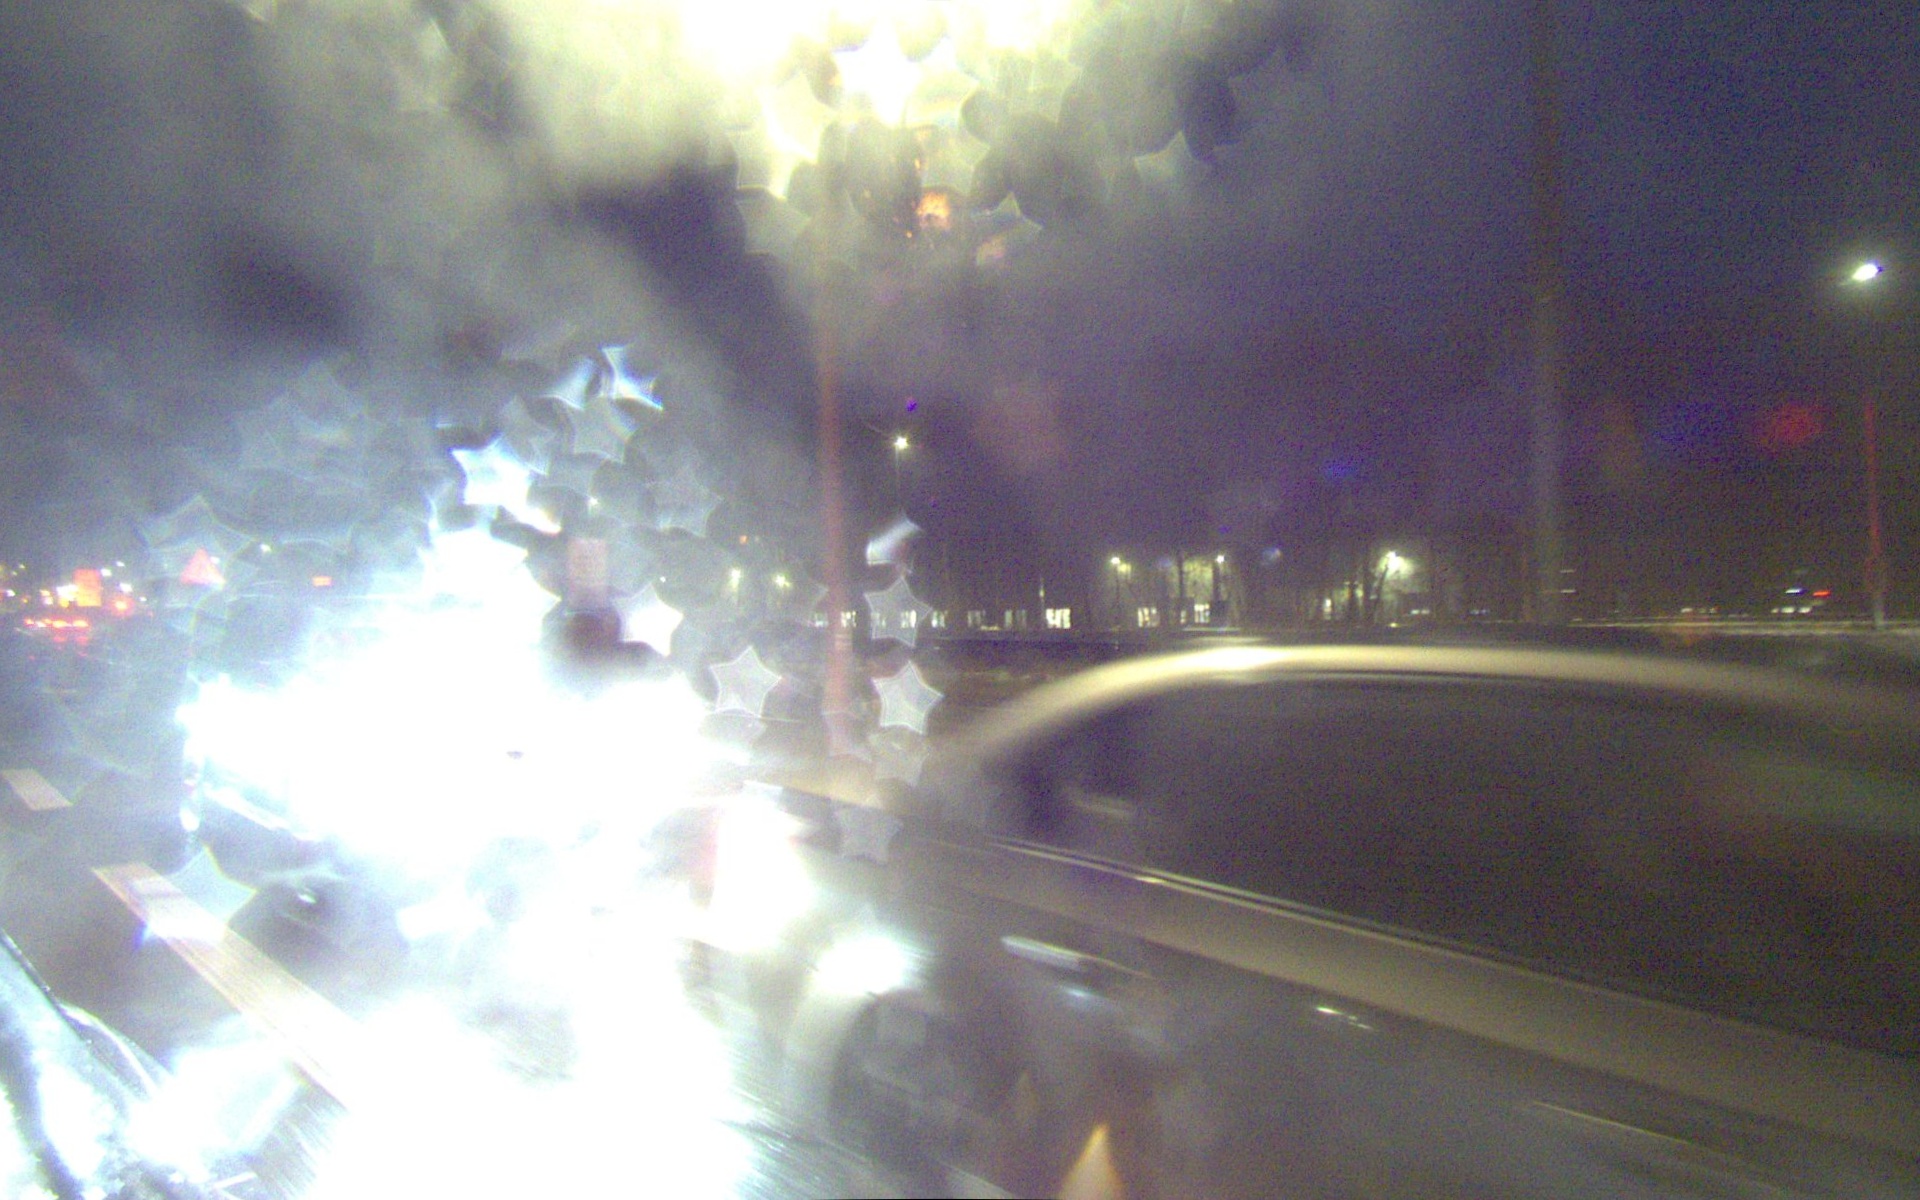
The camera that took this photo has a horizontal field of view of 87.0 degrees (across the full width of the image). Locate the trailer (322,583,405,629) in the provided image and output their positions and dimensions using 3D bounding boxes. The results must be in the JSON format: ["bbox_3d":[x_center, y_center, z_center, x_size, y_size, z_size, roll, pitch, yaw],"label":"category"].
[{"bbox_3d":[-67.298,0.611,113.951,15.522,4.643,3.927,0,4,44],"label":"trailer"}]

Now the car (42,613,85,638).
[{"bbox_3d":[-64.621,1.823,72.937,4.650,1.654,1.743,-1,1,41],"label":"car"}]

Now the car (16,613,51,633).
[{"bbox_3d":[-78.862,1.946,86.147,4.030,1.600,1.783,0,1,42],"label":"car"}]

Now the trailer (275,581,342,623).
[{"bbox_3d":[-85.548,0.230,132.651,14.842,5.049,3.927,0,4,44],"label":"trailer"}]

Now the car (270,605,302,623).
[{"bbox_3d":[-70.216,1.462,105.416,4.219,1.706,1.767,-2,1,43],"label":"car"}]

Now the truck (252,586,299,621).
[{"bbox_3d":[-97.843,0.461,144.585,10.217,4.643,3.401,0,4,44],"label":"truck"}]

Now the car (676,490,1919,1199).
[{"bbox_3d":[1.479,0.661,1.817,4.435,1.522,1.764,-1,-2,42],"label":"car"}]

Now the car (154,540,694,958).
[{"bbox_3d":[-3.700,0.679,6.536,4.436,1.795,1.764,-2,-1,43],"label":"car"}]

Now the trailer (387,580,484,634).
[{"bbox_3d":[-51.337,0.578,98.769,14.254,4.643,3.927,0,4,44],"label":"trailer"}]
